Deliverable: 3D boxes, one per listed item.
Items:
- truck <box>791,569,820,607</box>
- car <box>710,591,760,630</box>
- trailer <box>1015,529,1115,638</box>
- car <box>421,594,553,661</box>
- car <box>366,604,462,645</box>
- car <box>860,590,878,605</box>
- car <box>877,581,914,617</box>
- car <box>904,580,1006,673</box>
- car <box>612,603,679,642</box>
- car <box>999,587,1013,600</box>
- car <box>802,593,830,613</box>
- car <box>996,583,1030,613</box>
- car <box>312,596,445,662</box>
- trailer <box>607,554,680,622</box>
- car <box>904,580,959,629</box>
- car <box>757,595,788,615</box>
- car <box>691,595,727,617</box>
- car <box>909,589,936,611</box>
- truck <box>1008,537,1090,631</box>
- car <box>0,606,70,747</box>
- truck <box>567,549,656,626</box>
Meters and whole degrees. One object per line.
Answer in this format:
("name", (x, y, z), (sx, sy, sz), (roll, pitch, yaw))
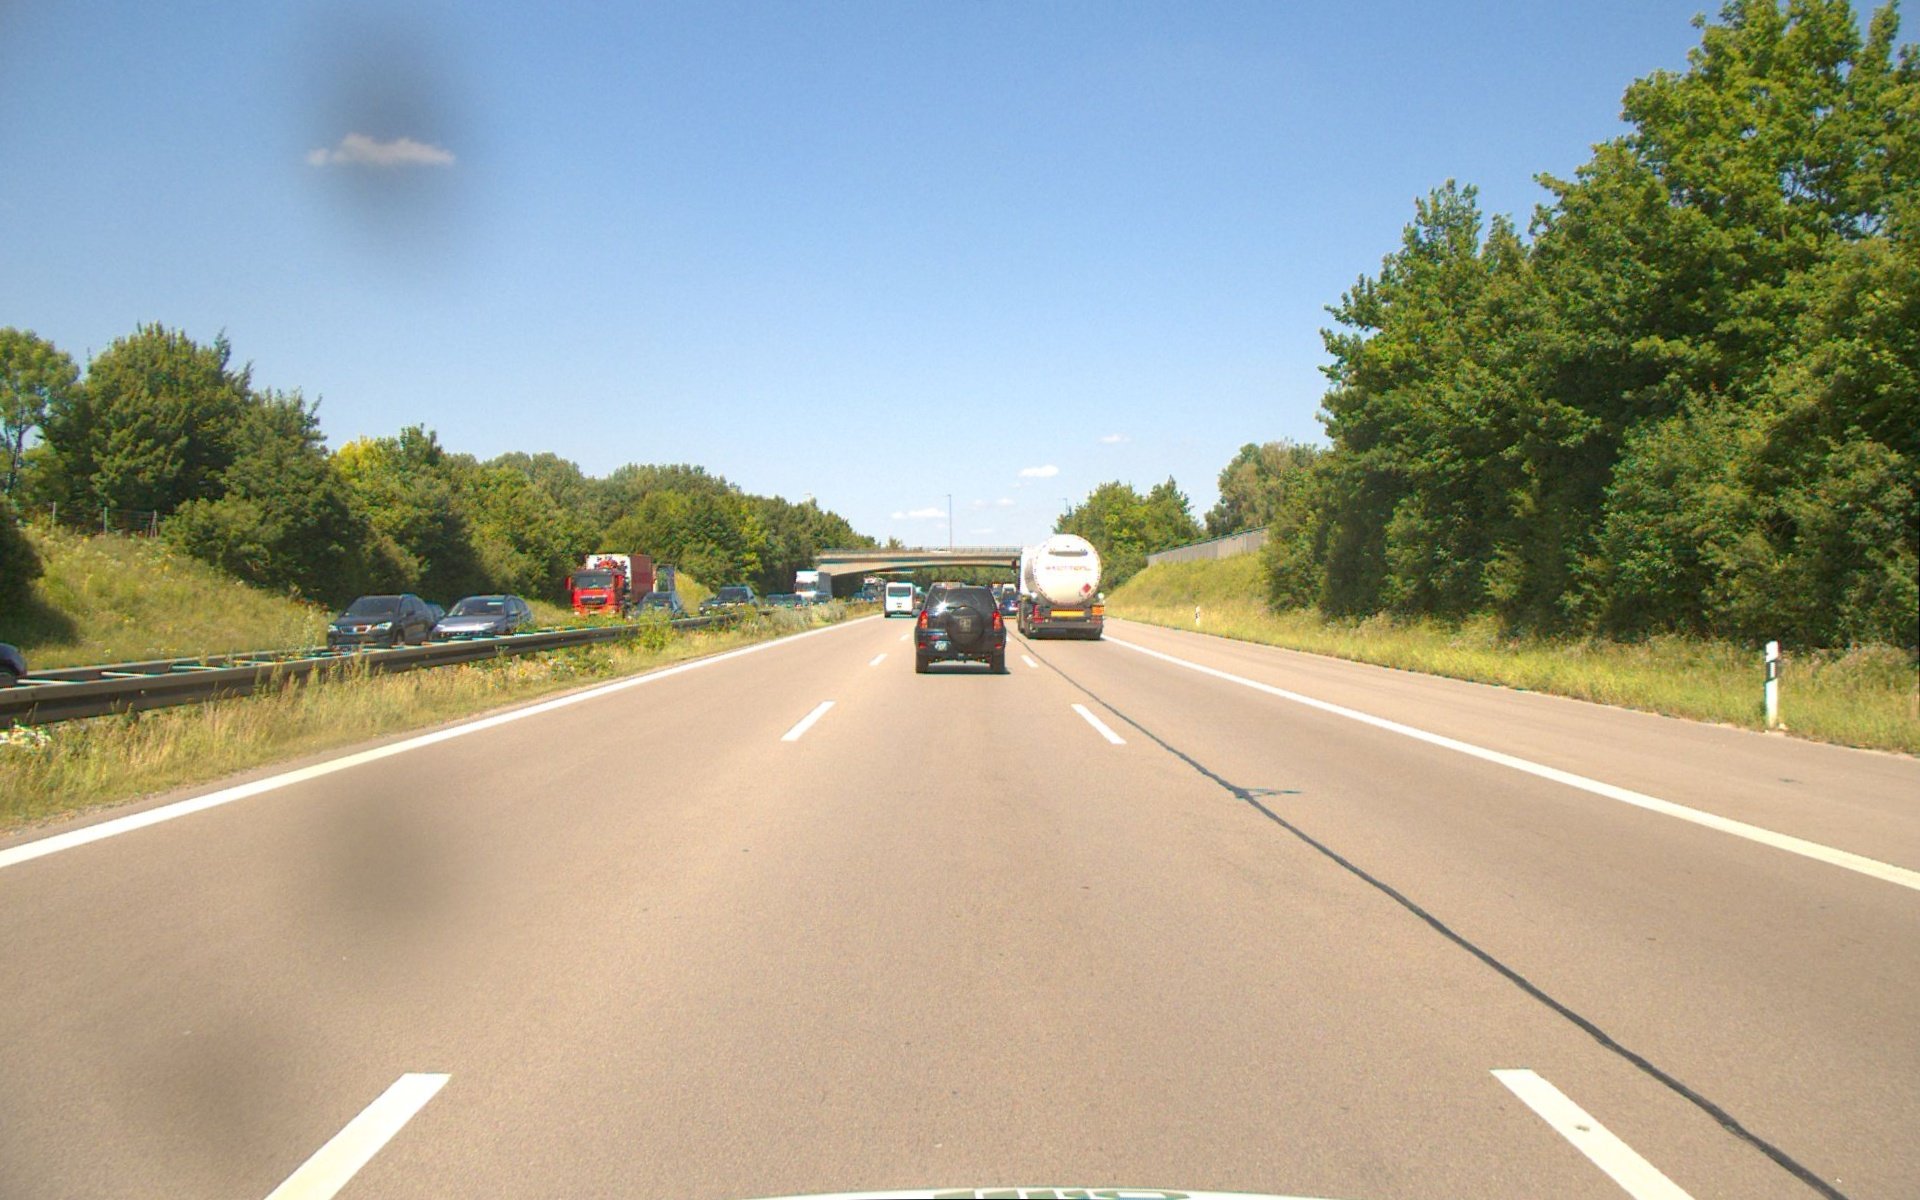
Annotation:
("truck", (-17.740, -1.368, 190.122), (2.617, 4.149, 6.076), (-2, 0, 0))
("car", (-11.426, 0.505, 84.274), (1.953, 1.898, 4.897), (-1, 0, -2))
("trailer", (3.538, -0.552, 58.279), (2.594, 3.449, 11.149), (0, 0, -1))
("car", (-11.499, 0.638, 40.519), (1.914, 1.509, 4.346), (-1, 0, 1))
("car", (-19.188, 0.827, 58.336), (1.711, 1.320, 5.061), (-1, 0, -1))
("car", (-10.105, -0.314, 183.790), (1.820, 1.628, 4.720), (-1, 0, 0))
("car", (-3.860, -0.046, 99.677), (1.953, 2.049, 4.949), (-1, 0, 0))
("car", (-0.081, 0.485, 32.574), (1.867, 1.694, 4.000), (-1, 0, 0))
("car", (-11.491, 0.802, 60.592), (1.633, 1.340, 4.120), (-1, 0, 0))
("car", (6.417, -0.880, 232.196), (1.775, 1.777, 4.000), (-1, 0, 0))
("car", (-11.936, 0.247, 137.603), (1.857, 1.452, 4.763), (-3, 0, 0))
("car", (3.132, -0.107, 97.805), (1.952, 1.713, 4.000), (-1, -1, 1))
("car", (-15.517, 0.732, 44.397), (1.953, 1.658, 4.574), (-1, 0, -1))
("trailer", (-18.835, -0.716, 98.874), (2.624, 3.835, 8.406), (-2, 0, 0))
("car", (-1.073, 0.172, 61.914), (1.953, 1.736, 4.335), (-1, 0, -1))
("car", (-14.817, 0.388, 130.873), (1.857, 1.363, 4.763), (-3, 0, 0))
("car", (-18.410, 0.401, 121.559), (1.857, 1.463, 4.923), (-3, 0, 0))
("car", (-2.763, 0.005, 122.890), (1.953, 1.579, 3.998), (-1, -1, -2))
("truck", (3.373, -0.596, 64.102), (2.585, 3.434, 6.485), (0, 0, -2))
("car", (-11.289, 0.847, 16.754), (1.953, 1.501, 4.830), (-1, 0, -1))
("truck", (-18.832, -0.668, 89.978), (2.624, 3.835, 9.918), (-2, 0, 0))
